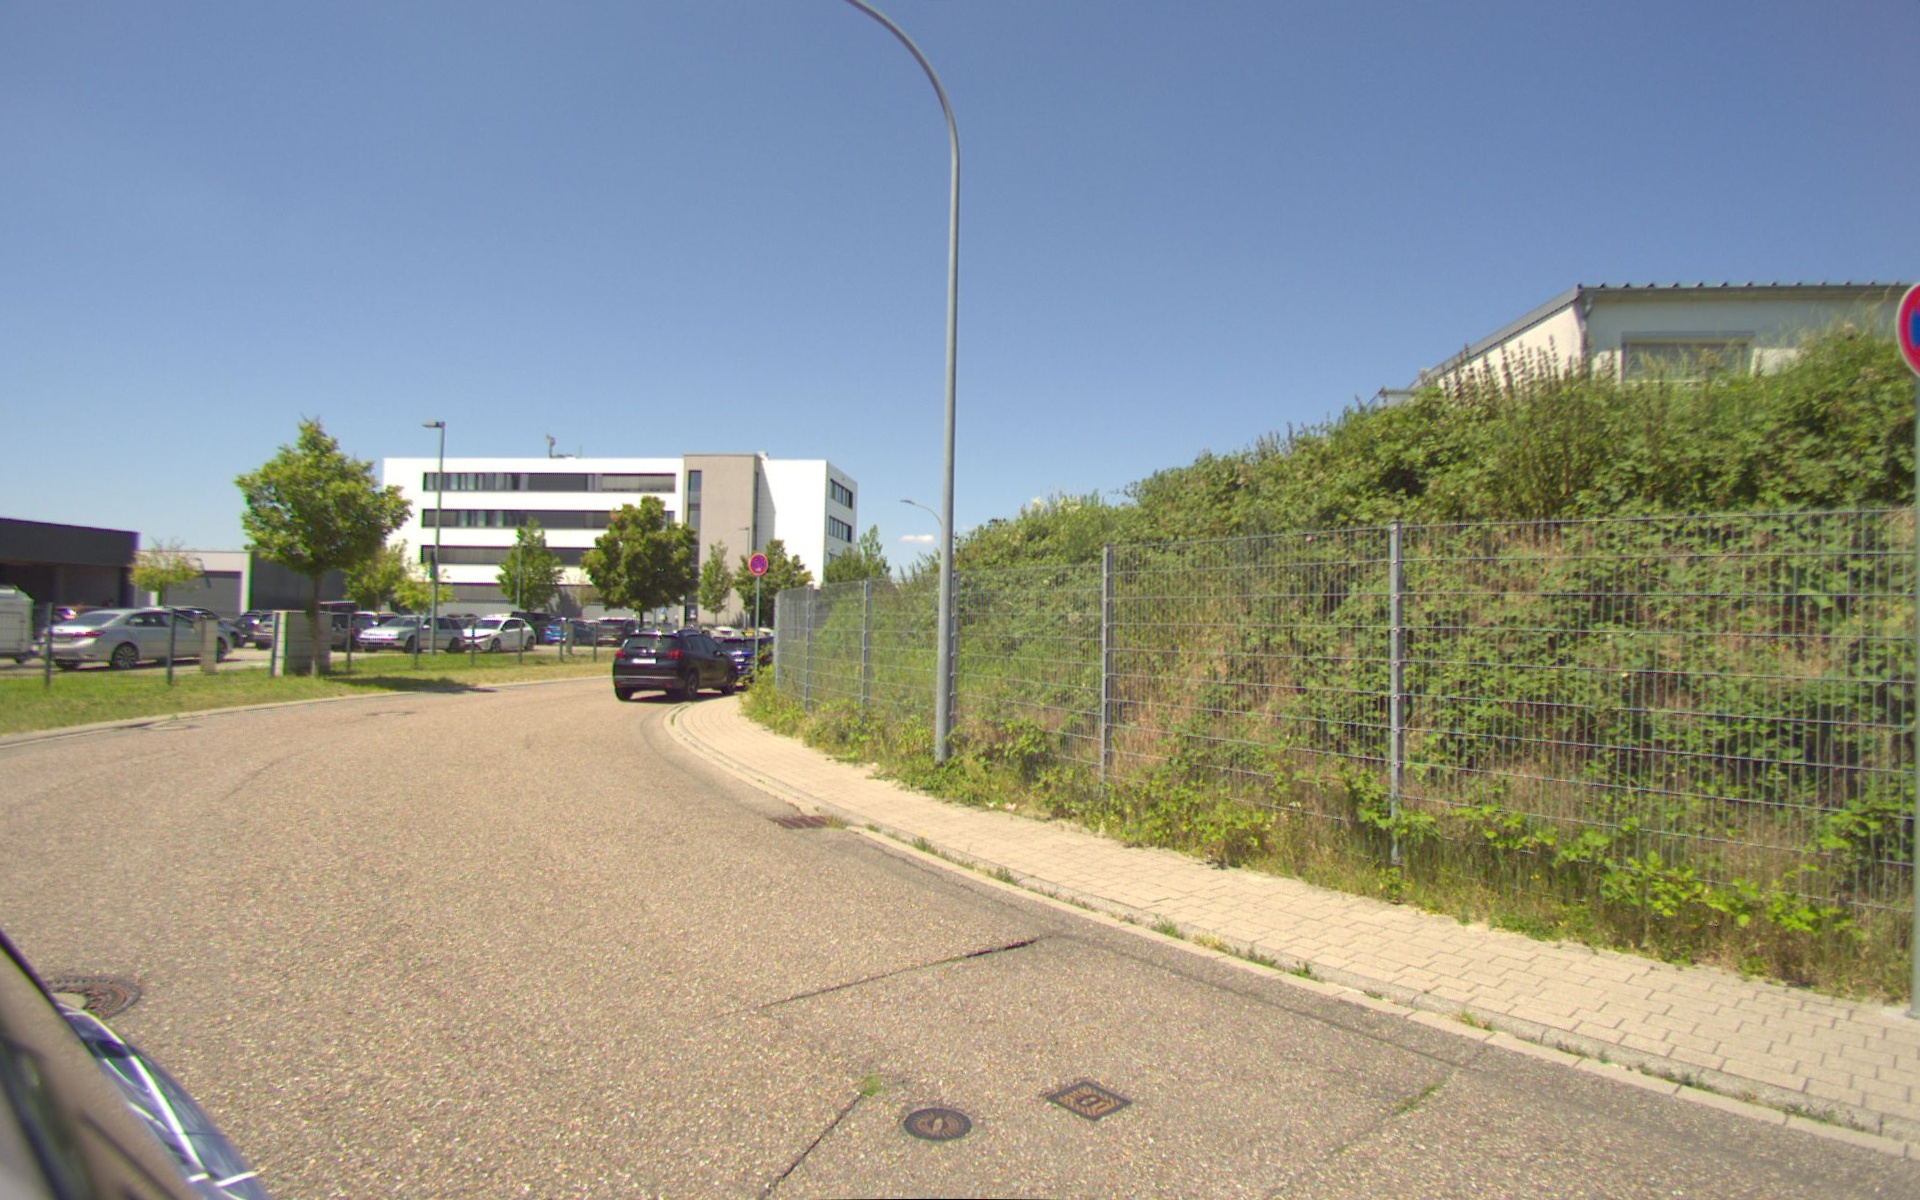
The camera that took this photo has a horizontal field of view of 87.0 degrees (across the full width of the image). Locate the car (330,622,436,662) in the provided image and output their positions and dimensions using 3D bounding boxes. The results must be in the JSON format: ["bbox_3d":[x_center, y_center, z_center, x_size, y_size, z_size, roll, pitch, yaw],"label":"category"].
[{"bbox_3d":[-24.340,1.819,42.871,1.833,1.510,3.915,2,-4,8],"label":"car"}]

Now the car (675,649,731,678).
[{"bbox_3d":[-14.692,3.685,57.975,1.810,1.466,3.916,-1,-6,7],"label":"car"}]

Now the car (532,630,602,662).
[{"bbox_3d":[-20.894,2.484,53.936,1.810,1.466,3.916,-1,-6,7],"label":"car"}]

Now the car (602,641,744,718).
[{"bbox_3d":[-6.390,1.755,23.006,1.639,1.567,4.124,1,-3,6],"label":"car"}]

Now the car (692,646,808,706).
[{"bbox_3d":[-5.711,2.059,28.058,1.917,1.466,4.273,2,-3,6],"label":"car"}]

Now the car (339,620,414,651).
[{"bbox_3d":[-34.840,2.166,60.543,1.812,1.549,3.913,-2,-6,9],"label":"car"}]

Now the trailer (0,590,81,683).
[{"bbox_3d":[-21.779,0.782,21.959,1.833,2.014,3.729,0,-4,8],"label":"trailer"}]

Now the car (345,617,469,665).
[{"bbox_3d":[-20.014,1.547,36.874,1.832,1.510,4.281,0,-5,6],"label":"car"}]

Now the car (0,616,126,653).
[{"bbox_3d":[-39.374,1.566,44.489,1.834,1.510,3.914,1,-3,8],"label":"car"}]

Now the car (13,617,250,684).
[{"bbox_3d":[-21.243,1.221,26.272,1.833,1.510,4.845,0,0,7],"label":"car"}]

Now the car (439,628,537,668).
[{"bbox_3d":[-19.655,1.981,42.318,1.834,1.510,3.914,1,-1,8],"label":"car"}]

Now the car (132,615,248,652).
[{"bbox_3d":[-33.886,1.458,44.678,1.834,1.510,3.914,1,-1,8],"label":"car"}]

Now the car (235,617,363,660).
[{"bbox_3d":[-24.689,1.478,37.981,1.834,1.510,3.914,1,-3,8],"label":"car"}]

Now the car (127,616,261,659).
[{"bbox_3d":[-29.496,1.485,39.115,1.834,1.510,3.914,2,-4,9],"label":"car"}]

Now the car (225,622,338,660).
[{"bbox_3d":[-28.889,1.768,43.259,1.834,1.510,3.914,1,-3,8],"label":"car"}]

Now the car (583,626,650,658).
[{"bbox_3d":[-18.158,2.243,53.659,1.811,1.586,3.916,2,-3,7],"label":"car"}]
